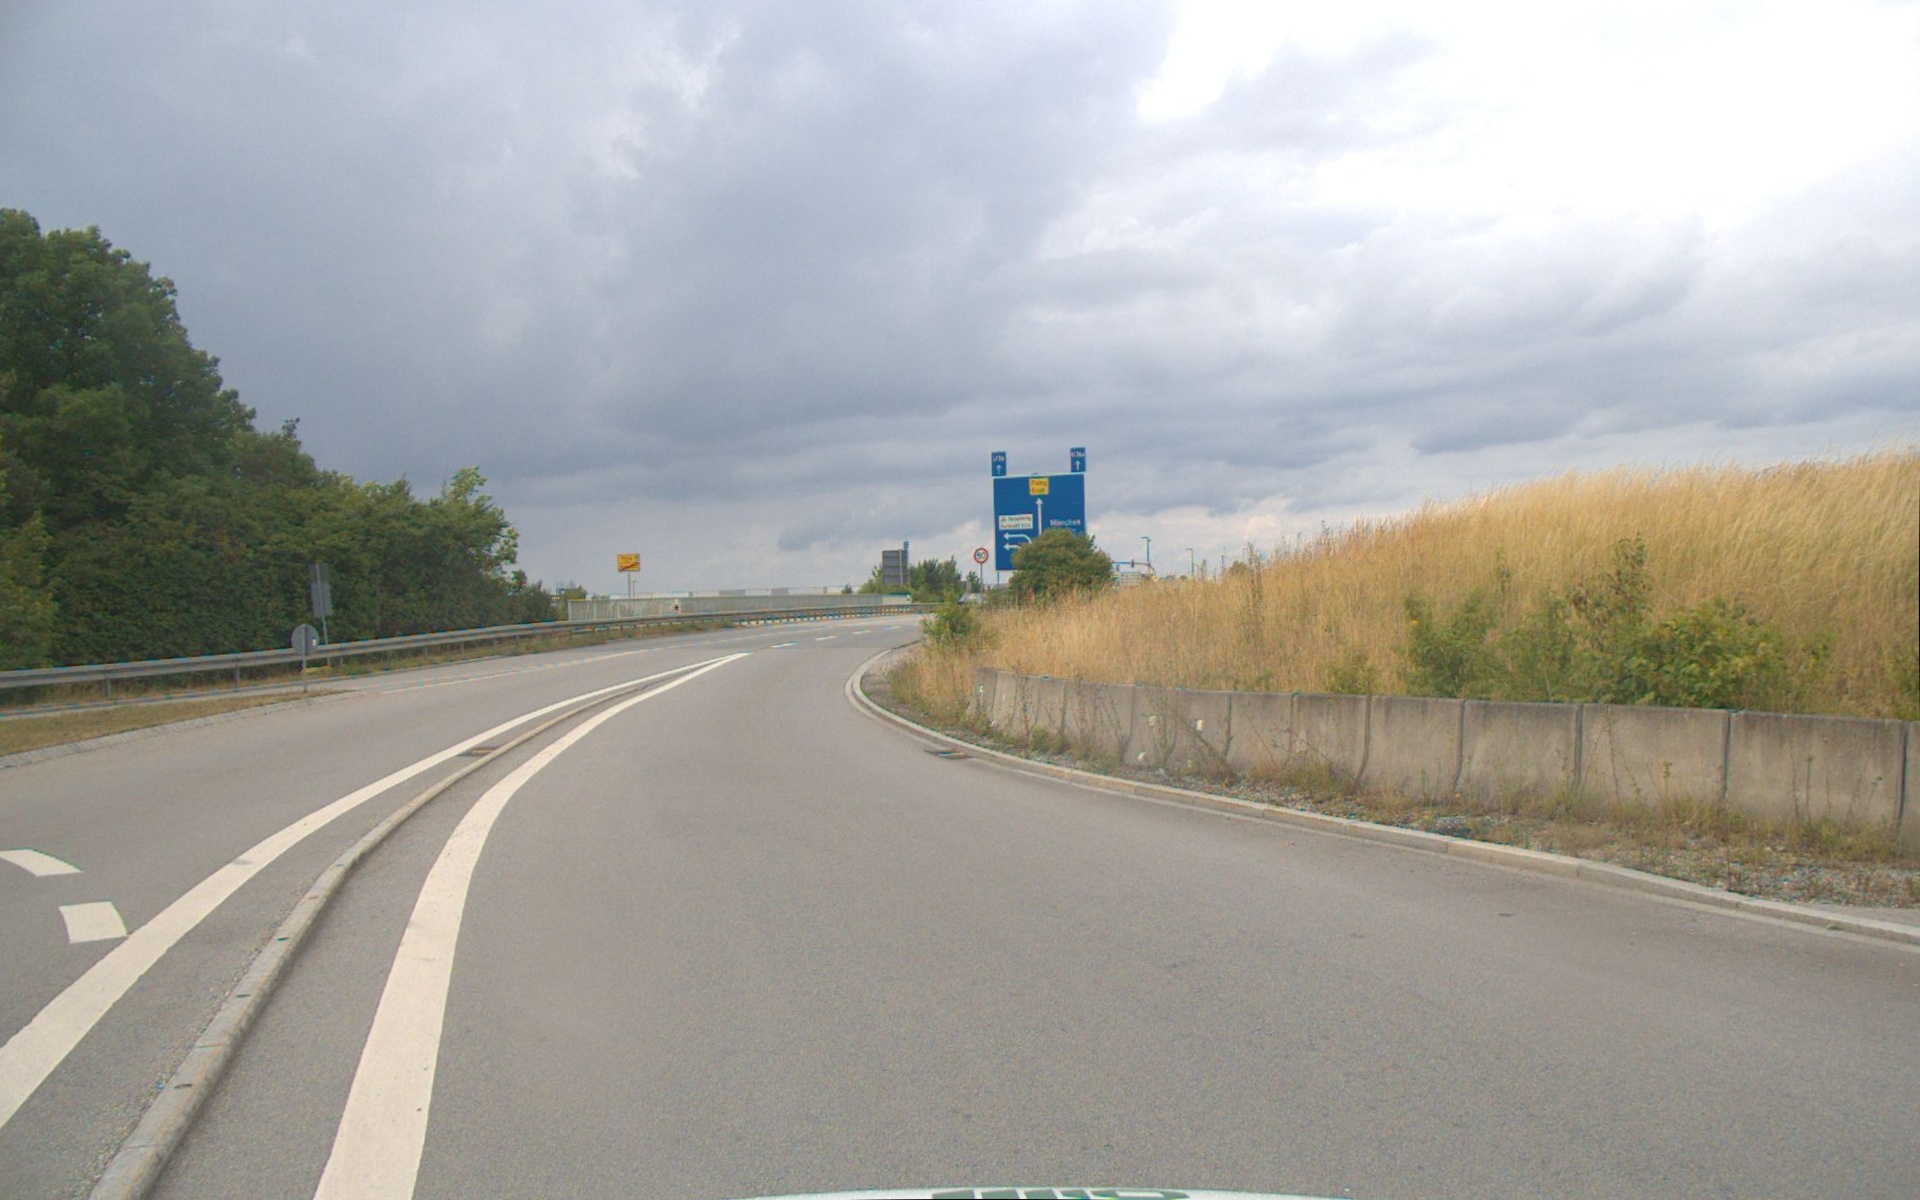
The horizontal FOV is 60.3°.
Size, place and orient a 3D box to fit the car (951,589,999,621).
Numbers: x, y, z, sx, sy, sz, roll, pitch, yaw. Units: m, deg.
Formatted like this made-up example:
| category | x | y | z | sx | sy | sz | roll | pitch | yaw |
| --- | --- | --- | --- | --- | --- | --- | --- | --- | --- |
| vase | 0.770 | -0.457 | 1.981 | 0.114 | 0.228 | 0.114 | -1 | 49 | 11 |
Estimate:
| category | x | y | z | sx | sy | sz | roll | pitch | yaw |
| --- | --- | --- | --- | --- | --- | --- | --- | --- | --- |
| car | 0.784 | 0.222 | 82.461 | 1.486 | 1.511 | 3.618 | -2 | 0 | 16 |
